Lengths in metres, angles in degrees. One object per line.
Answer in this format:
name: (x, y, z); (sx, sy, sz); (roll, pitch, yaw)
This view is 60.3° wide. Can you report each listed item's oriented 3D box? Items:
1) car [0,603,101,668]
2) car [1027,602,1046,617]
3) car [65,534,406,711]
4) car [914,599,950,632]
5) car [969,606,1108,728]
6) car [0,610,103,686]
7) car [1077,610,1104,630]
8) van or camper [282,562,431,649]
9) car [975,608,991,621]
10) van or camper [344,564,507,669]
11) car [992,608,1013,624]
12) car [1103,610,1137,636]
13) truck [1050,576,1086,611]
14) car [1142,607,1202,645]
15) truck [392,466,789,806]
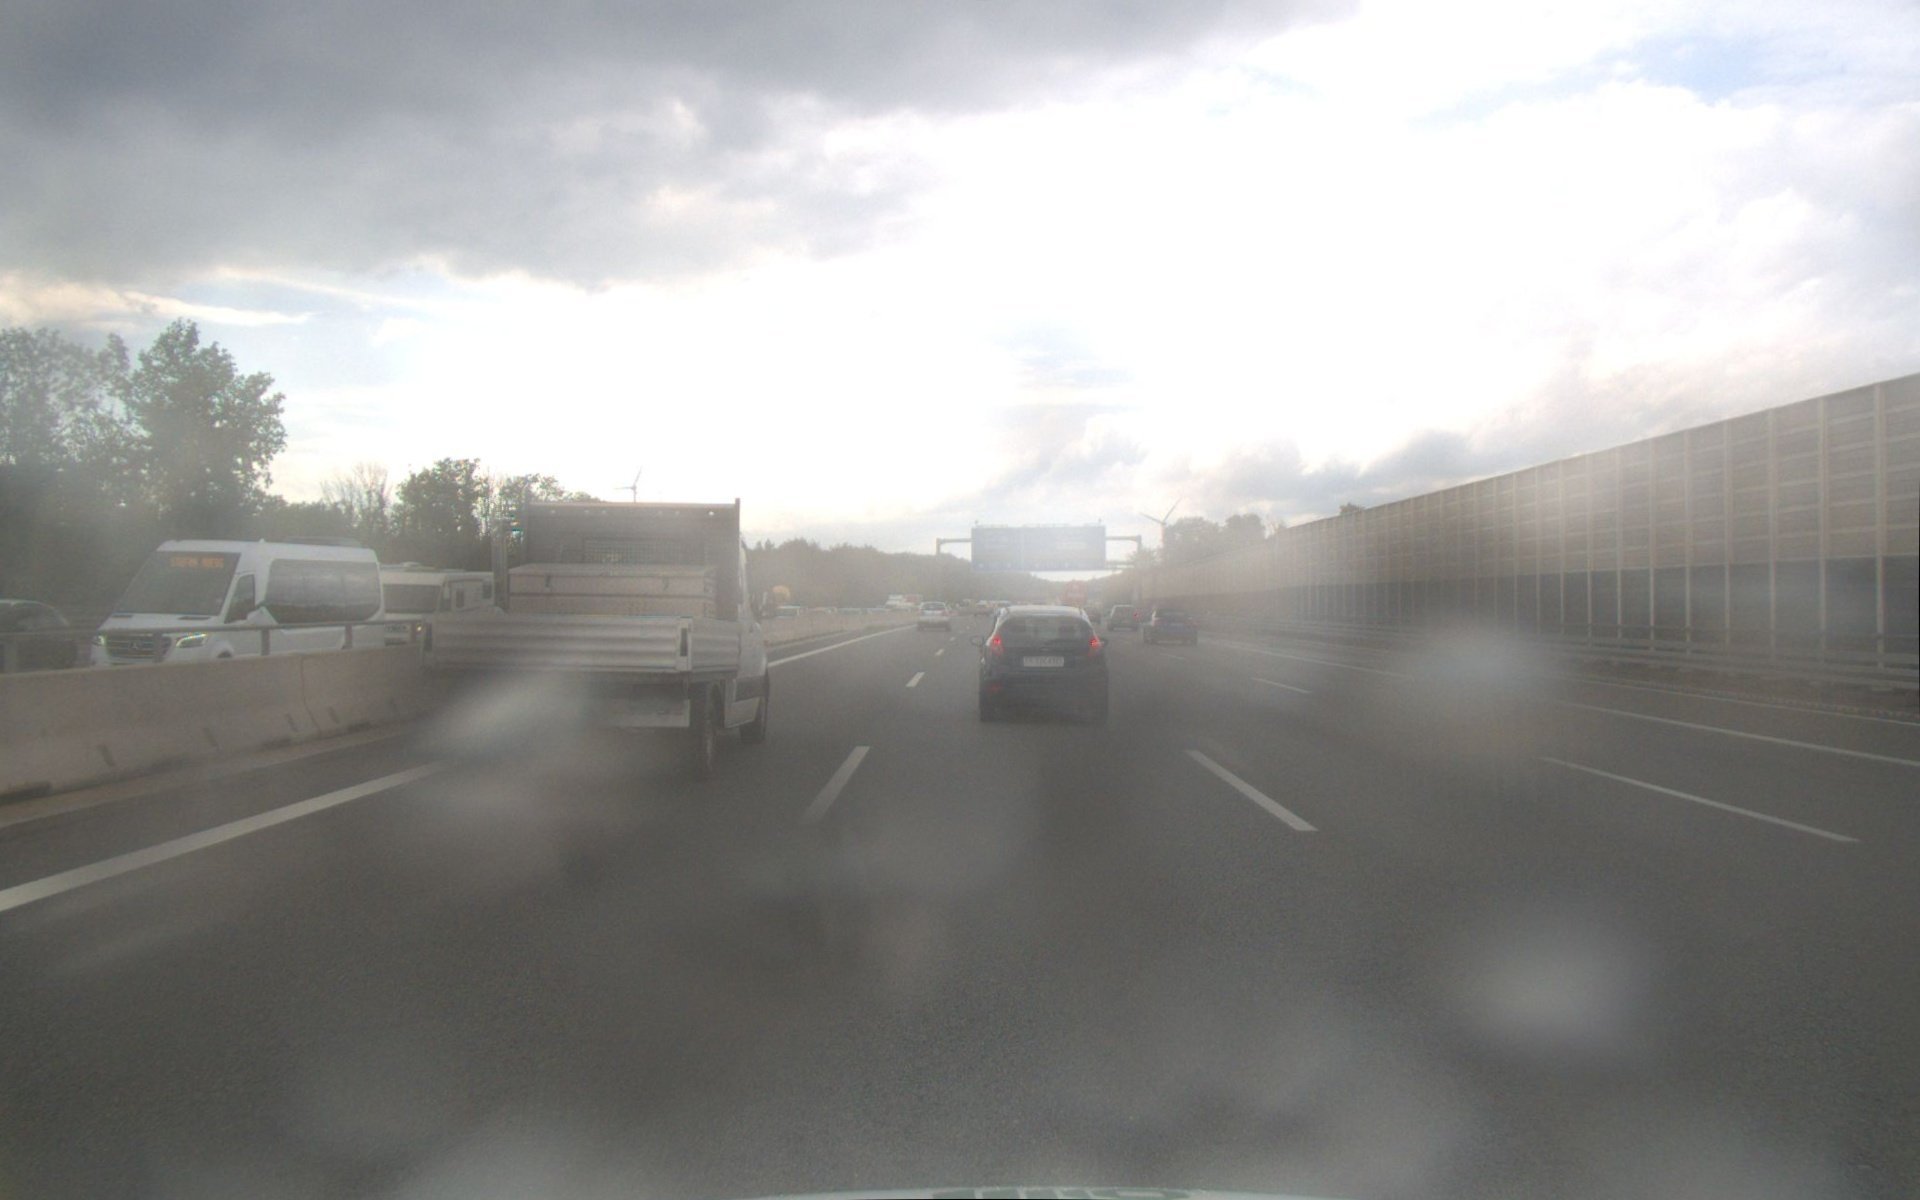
car: (-23.185, 0.835, 40.556); (1.687, 1.490, 4.520); (2, -1, 2)
car: (8.806, 1.101, 190.096); (1.927, 1.588, 4.432); (0, -1, 0)
car: (-13.061, 0.283, 30.881); (2.185, 2.797, 9.165); (0, 1, 1)
car: (-1.448, 0.779, 86.881); (1.681, 1.652, 4.280); (0, 0, 2)
car: (1.001, 0.824, 22.322); (1.682, 1.441, 4.279); (0, 0, 1)
car: (-19.947, 0.959, 34.405); (1.687, 1.490, 4.520); (2, -1, 2)
car: (10.767, 1.634, 136.498); (1.844, 1.588, 4.432); (0, -1, 0)
van or camper: (-23.696, 0.256, 65.445); (2.571, 3.177, 8.477); (2, -1, 1)
car: (2.750, 1.778, 202.239); (1.927, 1.588, 4.432); (0, -1, 0)
van or camper: (-16.731, 0.536, 52.321); (2.571, 3.003, 7.359); (2, -1, 1)
car: (4.211, 1.597, 164.297); (1.927, 1.588, 4.432); (0, -1, 0)
car: (9.798, 1.434, 101.543); (1.843, 1.569, 4.434); (0, -1, 2)
truck: (11.728, -0.679, 180.683); (3.088, 3.664, 12.699); (1, 0, 0)
car: (8.330, 1.017, 65.184); (1.909, 1.443, 4.232); (0, -1, 1)
truck: (-3.095, 0.250, 15.793); (2.260, 2.482, 7.147); (1, 0, -1)
